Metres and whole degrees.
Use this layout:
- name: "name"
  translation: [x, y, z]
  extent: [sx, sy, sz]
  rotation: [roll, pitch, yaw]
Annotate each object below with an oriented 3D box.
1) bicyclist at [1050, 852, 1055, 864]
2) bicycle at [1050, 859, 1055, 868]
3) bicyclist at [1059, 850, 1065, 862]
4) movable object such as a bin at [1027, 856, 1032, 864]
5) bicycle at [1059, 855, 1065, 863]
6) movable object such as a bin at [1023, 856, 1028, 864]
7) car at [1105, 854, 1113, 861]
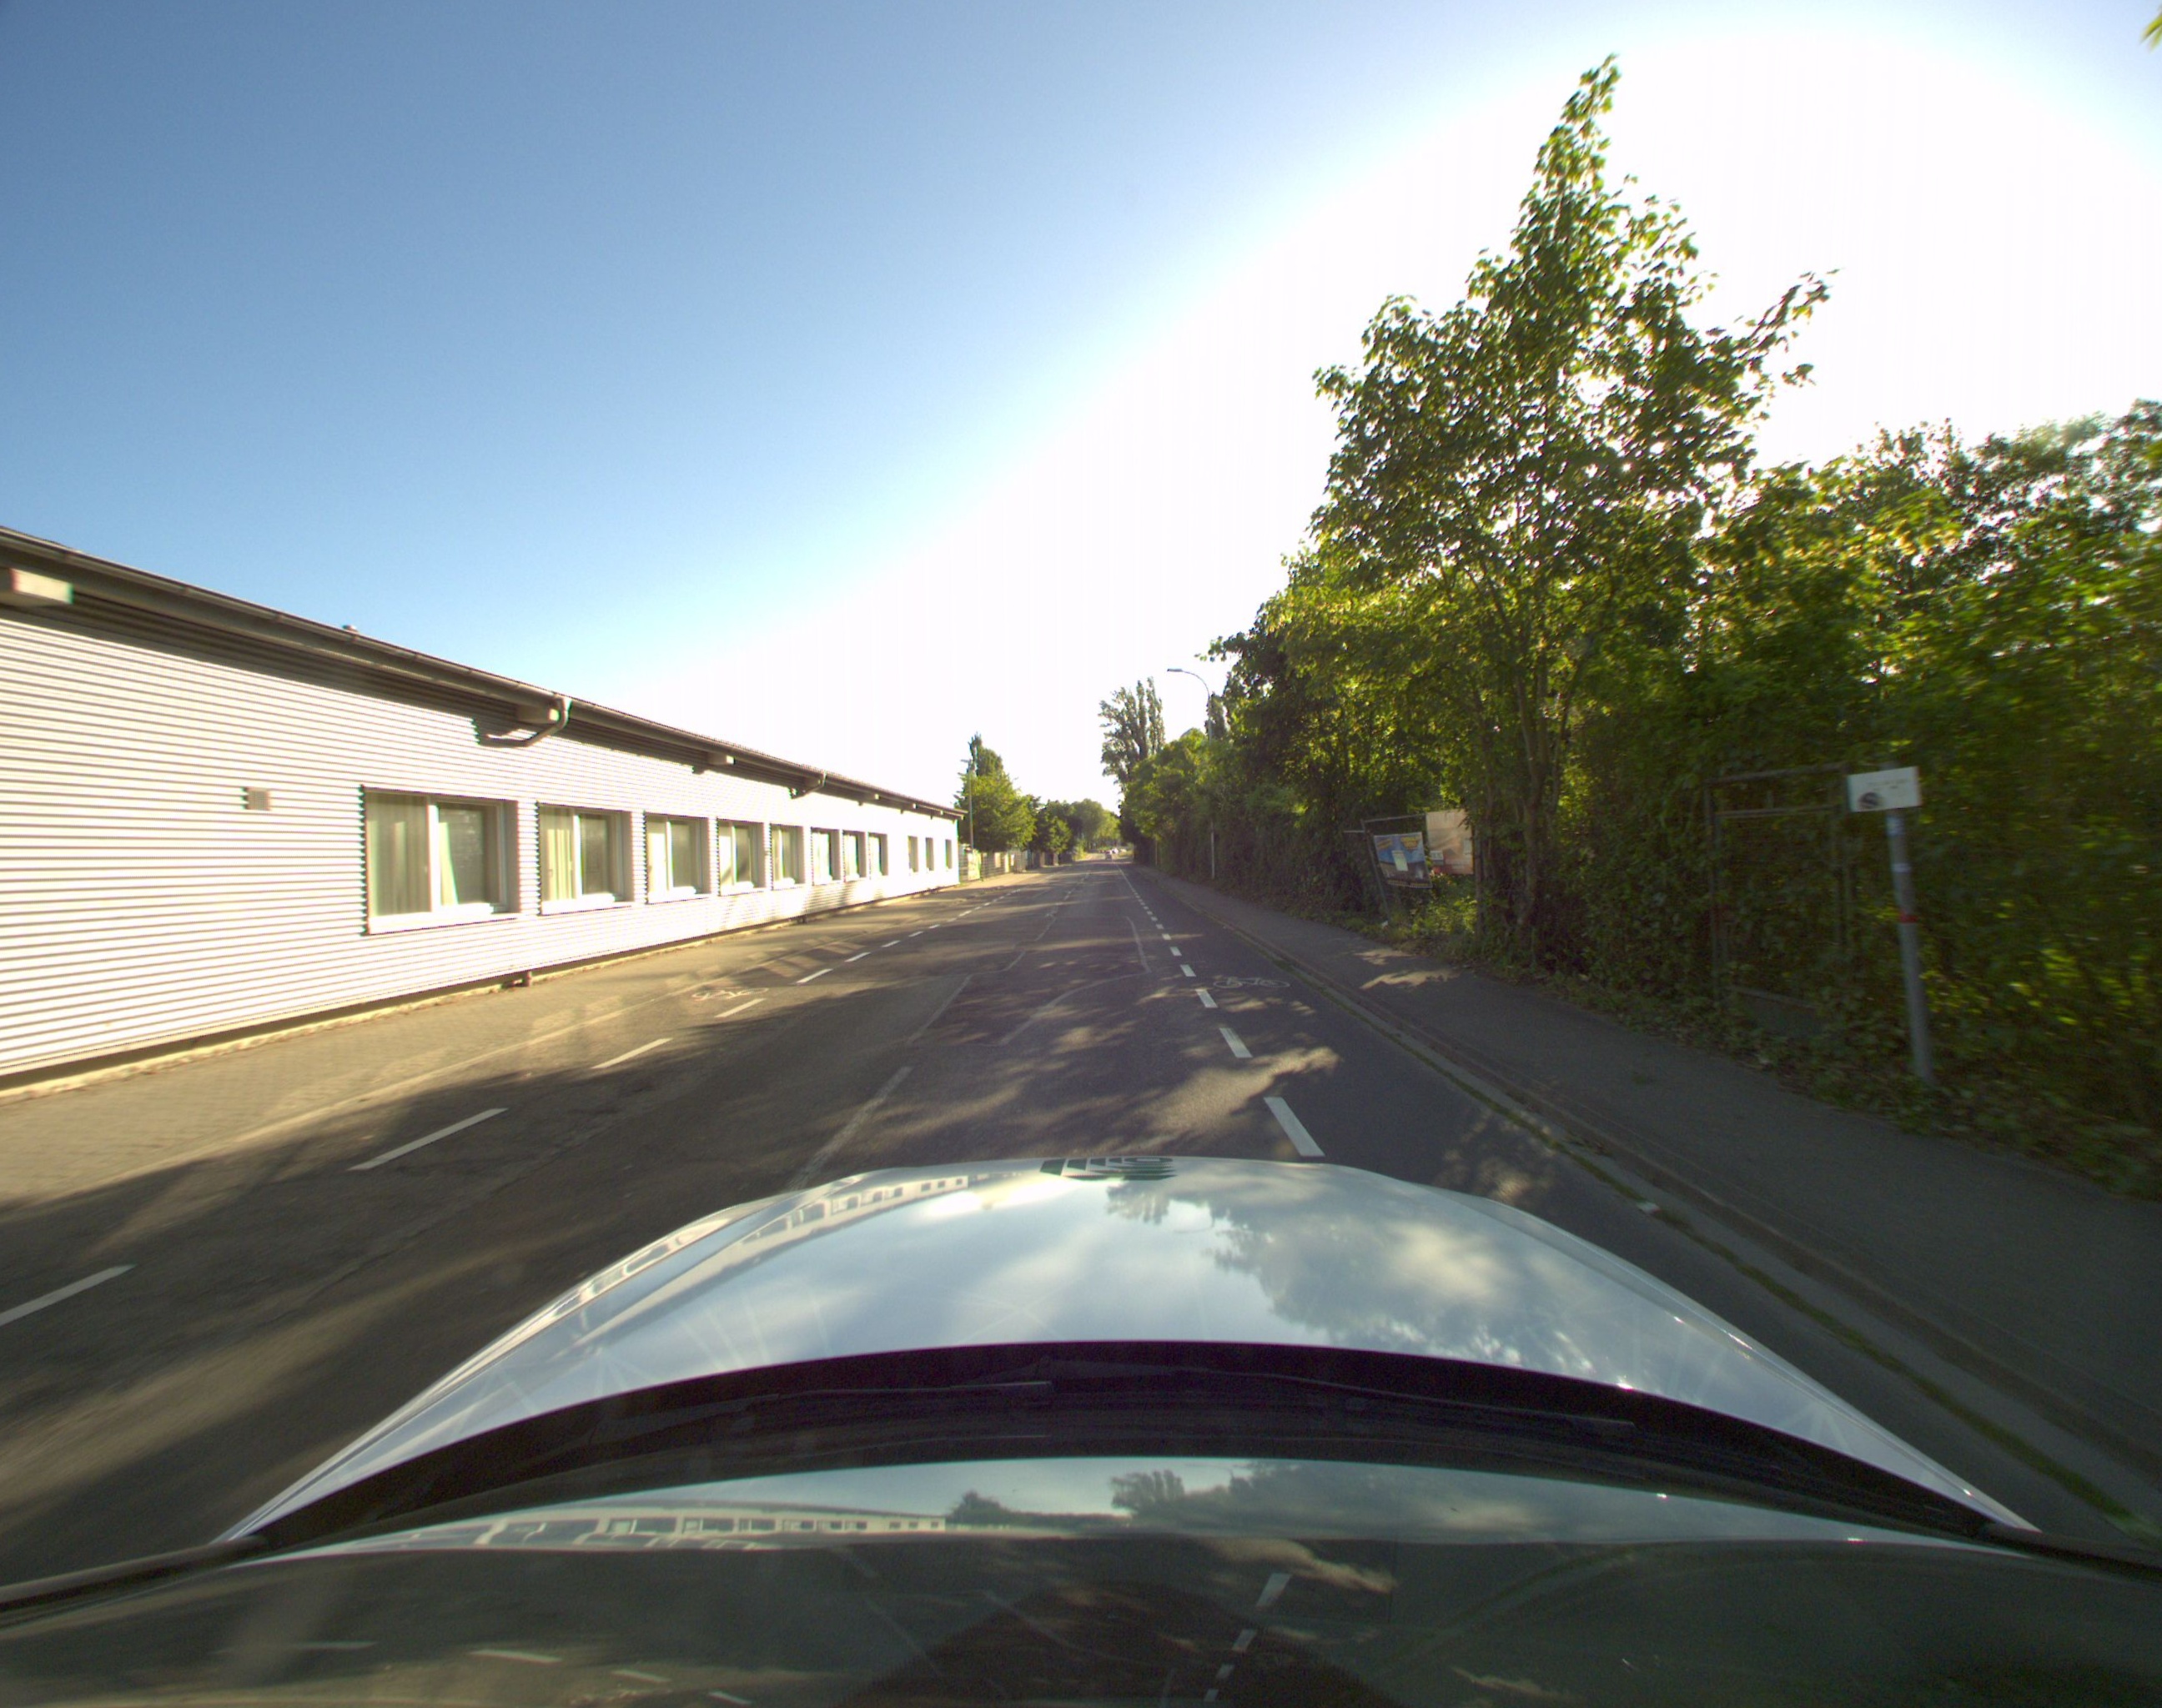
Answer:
- name: "bicyclist"
  translation: [-3.629, 0.485, 104.436]
  extent: [0.558, 1.534, 0.690]
  rotation: [-1, 0, 2]
- name: "bicycle"
  translation: [-3.610, 1.195, 104.498]
  extent: [0.560, 1.034, 1.351]
  rotation: [-1, 0, 2]
- name: "bicyclist"
  translation: [-2.470, 0.226, 103.807]
  extent: [0.687, 1.532, 0.723]
  rotation: [-1, 0, 1]
- name: "movable object such as a bin"
  translation: [-7.099, 0.793, 112.015]
  extent: [0.461, 1.076, 1.570]
  rotation: [-3, 0, 2]
- name: "bicycle"
  translation: [-2.448, 0.657, 103.850]
  extent: [0.686, 1.034, 1.351]
  rotation: [-1, 0, 2]
- name: "movable object such as a bin"
  translation: [-7.604, 0.825, 112.204]
  extent: [0.461, 1.076, 1.570]
  rotation: [-3, 0, 2]
- name: "car"
  translation: [7.479, 0.868, 218.352]
  extent: [1.935, 1.651, 4.311]
  rotation: [-1, 1, 2]
